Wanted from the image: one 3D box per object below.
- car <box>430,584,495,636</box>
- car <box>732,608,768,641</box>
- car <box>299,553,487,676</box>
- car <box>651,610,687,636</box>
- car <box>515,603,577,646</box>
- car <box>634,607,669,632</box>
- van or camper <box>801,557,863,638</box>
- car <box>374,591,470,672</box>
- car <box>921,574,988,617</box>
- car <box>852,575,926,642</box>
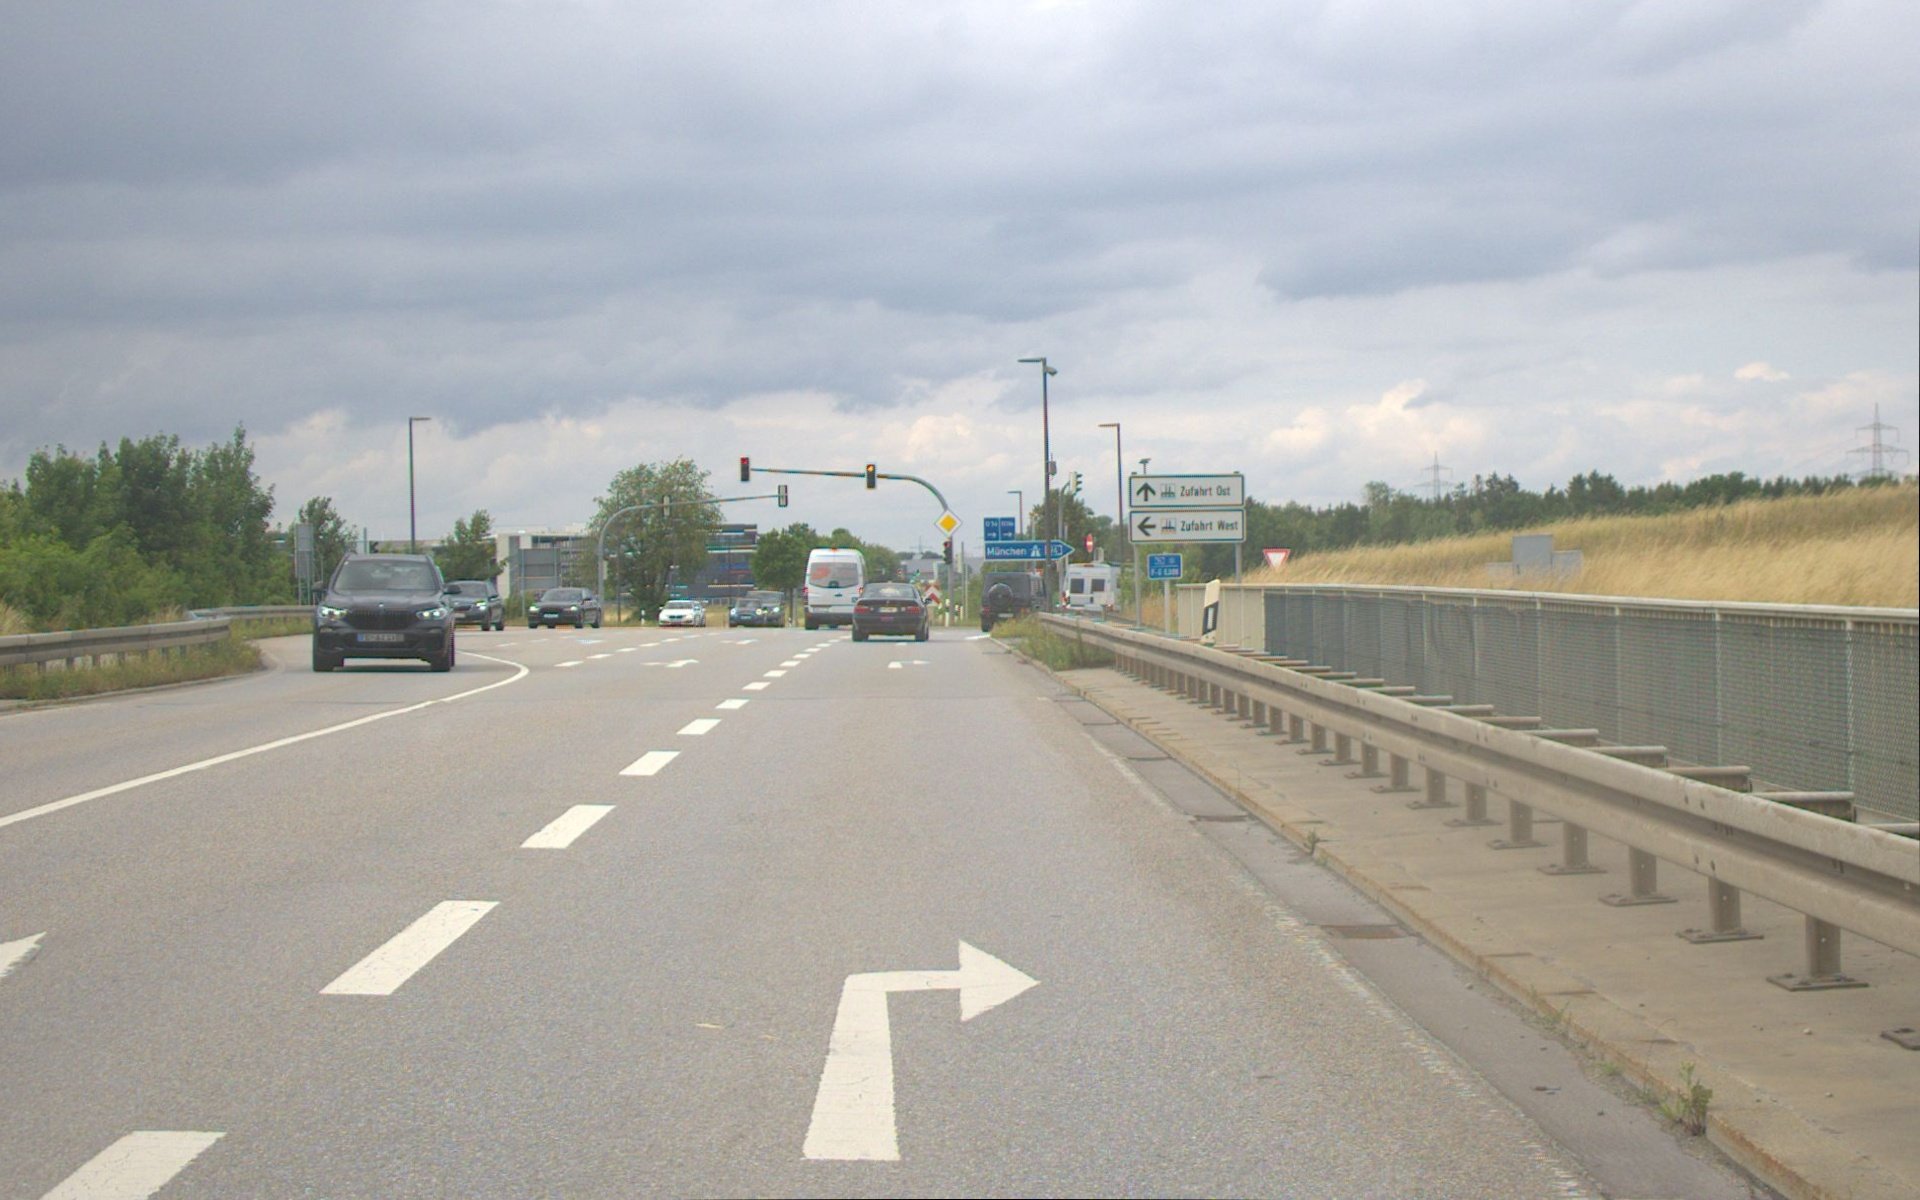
[{"bbox_3d":[-15.118,0.308,104.575,1.582,1.552,4.147,1,0,-3],"label":"car"},{"bbox_3d":[-10.282,1.184,168.435,1.693,1.364,3.944,0,3,-3],"label":"car"},{"bbox_3d":[-8.419,0.220,51.434,1.993,1.726,4.762,1,0,0],"label":"car"},{"bbox_3d":[-14.533,1.158,171.750,1.480,1.278,3.533,0,0,0],"label":"car"},{"bbox_3d":[-14.511,0.853,120.756,1.808,1.364,4.786,0,1,-3],"label":"car"},{"bbox_3d":[-16.061,1.007,179.329,1.480,1.278,3.533,0,0,0],"label":"car"},{"bbox_3d":[-4.157,-0.071,112.210,1.876,2.572,4.000,1,0,-1],"label":"van or camper"},{"bbox_3d":[-10.323,0.596,66.196,1.711,1.481,4.280,1,0,-8],"label":"car"},{"bbox_3d":[-0.198,-0.178,126.490,1.683,1.539,3.613,0,0,13],"label":"car"},{"bbox_3d":[-1.614,0.190,79.231,1.518,1.480,3.615,0,0,2],"label":"car"}]
